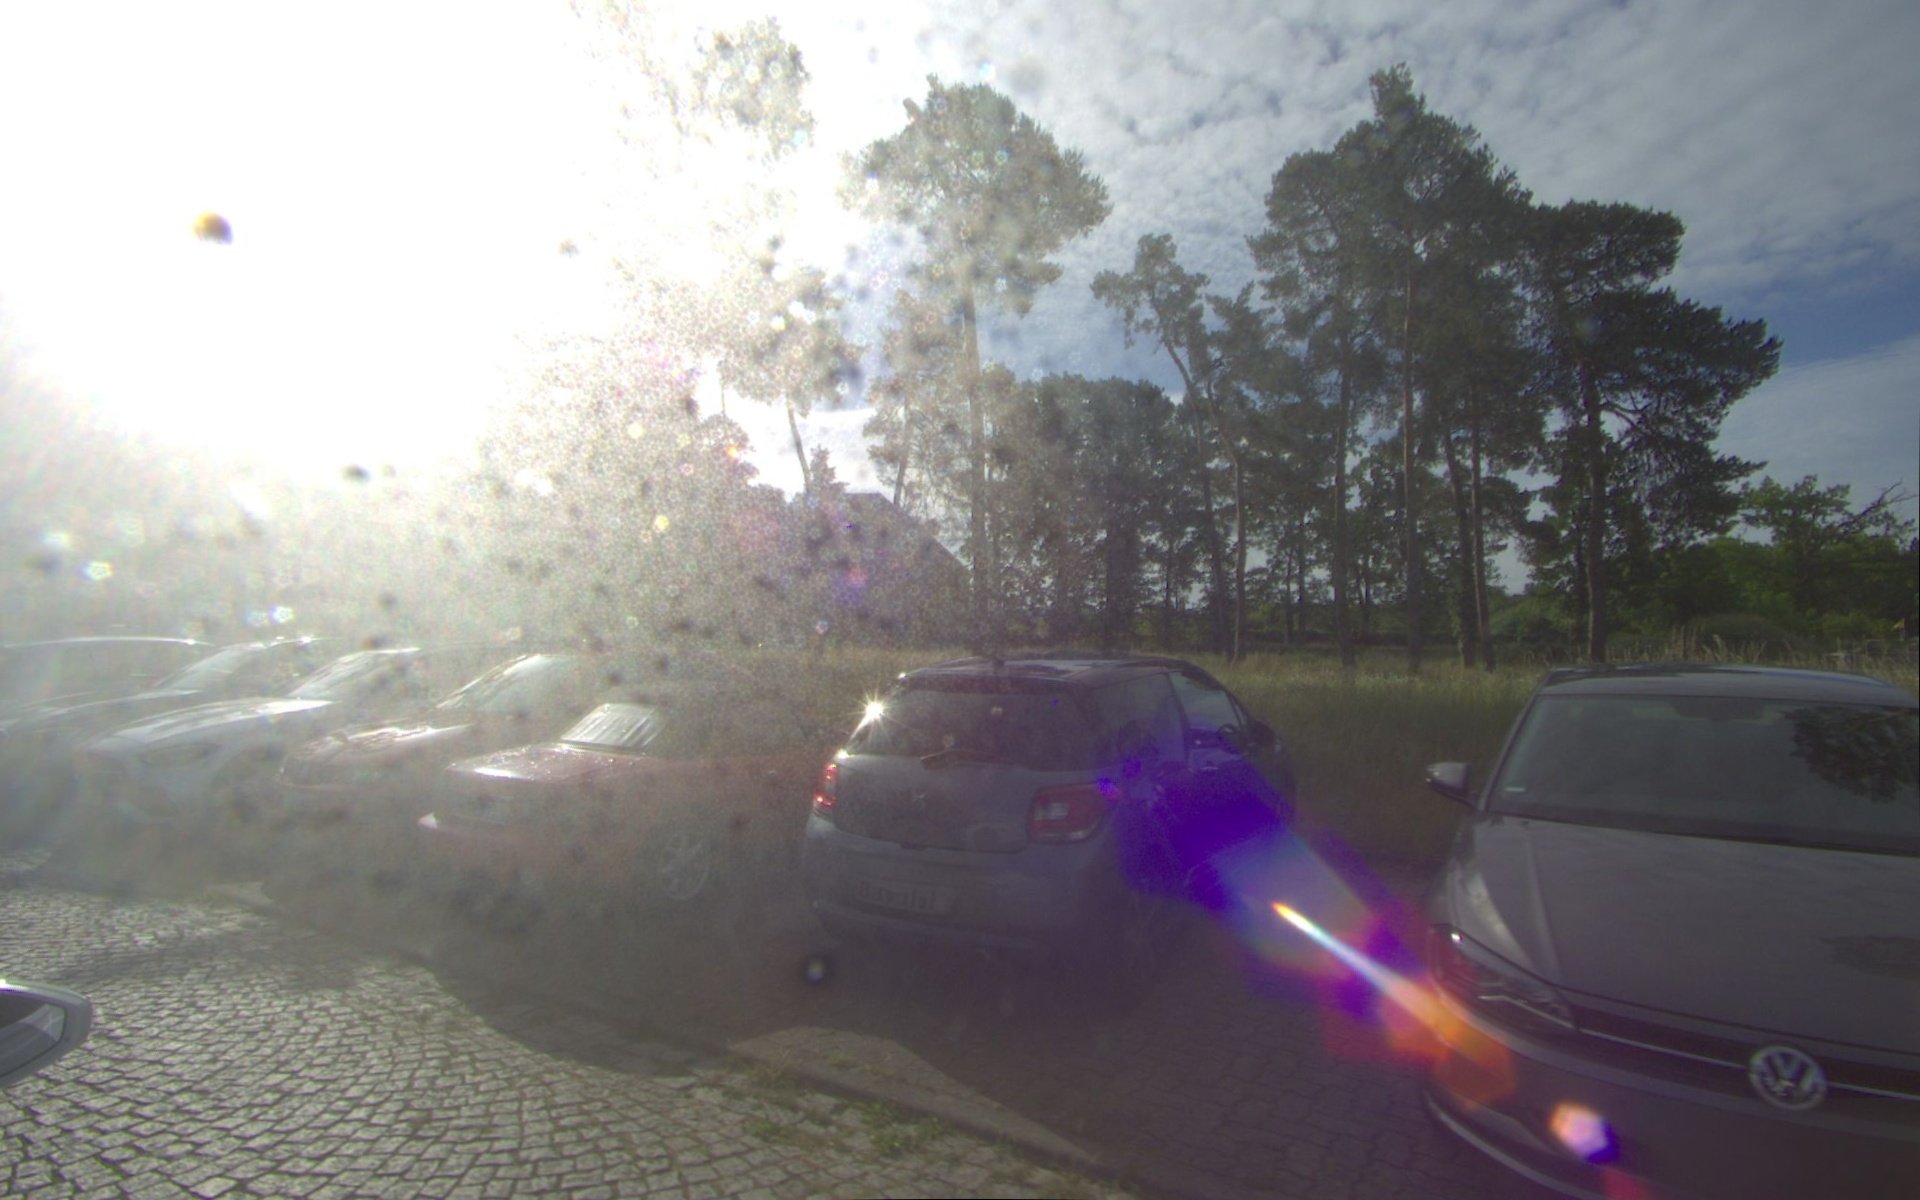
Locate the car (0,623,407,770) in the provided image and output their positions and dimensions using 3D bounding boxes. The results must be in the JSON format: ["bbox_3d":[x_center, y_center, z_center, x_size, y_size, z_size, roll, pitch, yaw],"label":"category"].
[{"bbox_3d":[-9.740,1.066,12.633,1.904,1.524,4.539,-1,-2,30],"label":"car"}]

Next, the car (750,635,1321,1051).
[{"bbox_3d":[0.788,0.979,5.876,1.746,1.514,3.945,-1,-2,32],"label":"car"}]

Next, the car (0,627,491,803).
[{"bbox_3d":[-7.725,1.050,10.966,1.866,1.492,4.505,-1,-2,27],"label":"car"}]

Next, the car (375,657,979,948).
[{"bbox_3d":[-1.597,1.098,6.958,1.702,1.277,3.945,-1,-2,32],"label":"car"}]

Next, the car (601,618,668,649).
[{"bbox_3d":[-27.379,2.833,84.397,2.232,2.567,5.150,-1,-3,33],"label":"car"}]

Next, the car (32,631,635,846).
[{"bbox_3d":[-5.457,1.048,9.426,1.823,1.492,4.500,-1,-2,31],"label":"car"}]

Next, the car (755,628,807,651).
[{"bbox_3d":[-13.651,3.004,76.424,1.828,1.700,3.929,-1,-3,29],"label":"car"}]

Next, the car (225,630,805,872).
[{"bbox_3d":[-3.382,1.010,8.533,1.714,1.492,4.335,-1,-2,31],"label":"car"}]

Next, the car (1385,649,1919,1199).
[{"bbox_3d":[2.902,0.971,3.807,1.804,1.486,3.945,-1,-2,32],"label":"car"}]
